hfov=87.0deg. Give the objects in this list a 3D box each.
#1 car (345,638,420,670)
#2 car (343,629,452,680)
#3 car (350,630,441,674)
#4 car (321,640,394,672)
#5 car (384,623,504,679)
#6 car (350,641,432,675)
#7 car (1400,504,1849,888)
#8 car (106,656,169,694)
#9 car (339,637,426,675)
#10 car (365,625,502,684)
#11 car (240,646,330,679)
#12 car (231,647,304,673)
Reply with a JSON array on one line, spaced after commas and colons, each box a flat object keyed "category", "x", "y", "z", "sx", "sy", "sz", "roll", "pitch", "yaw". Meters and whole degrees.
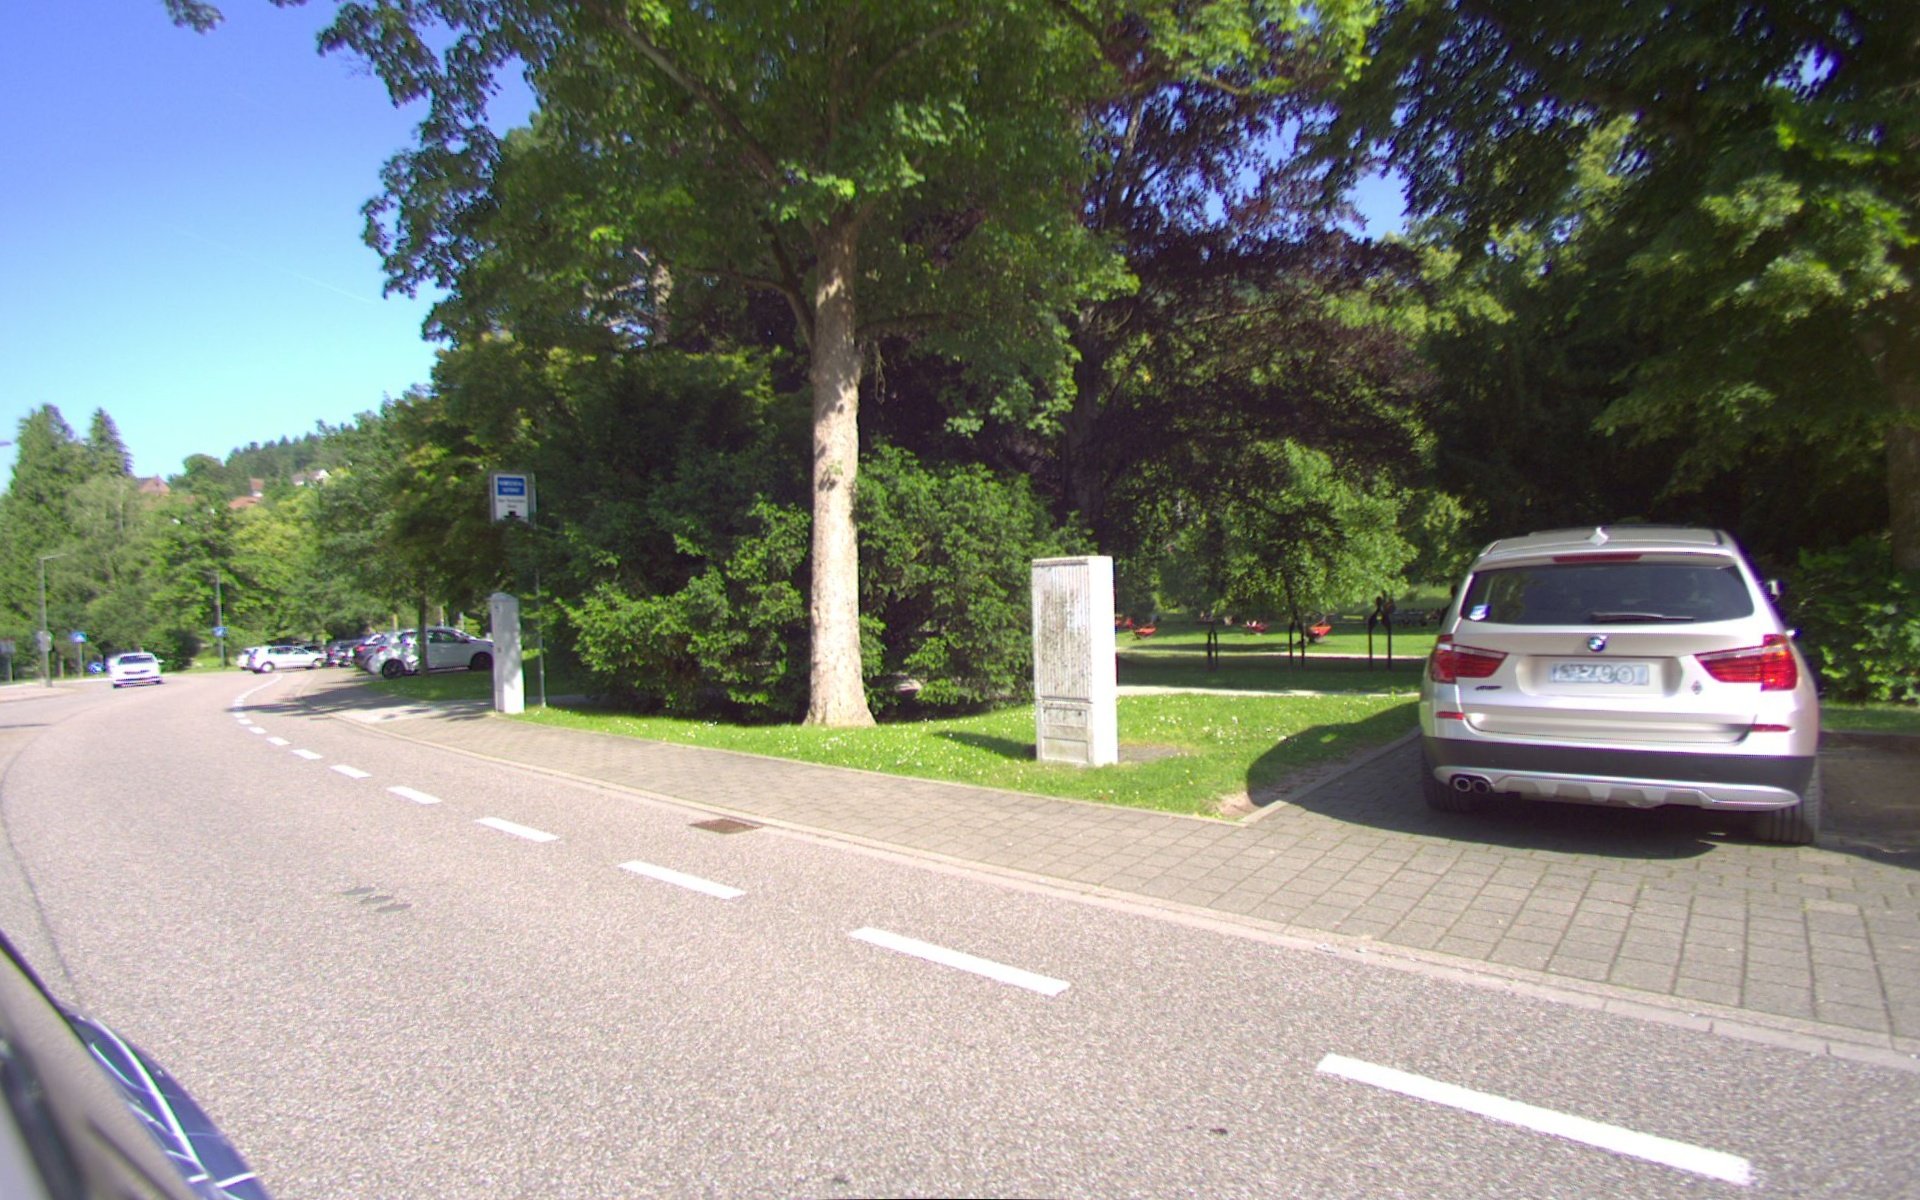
[{"category": "car", "x": -31.570, "y": 2.926, "z": 55.339, "sx": 3.435, "sy": 1.436, "sz": 1.558, "roll": -4, "pitch": 0, "yaw": -32}, {"category": "car", "x": -21.011, "y": 2.020, "z": 37.827, "sx": 3.435, "sy": 1.557, "sz": 1.447, "roll": -4, "pitch": -1, "yaw": -32}, {"category": "car", "x": -25.322, "y": 2.328, "z": 45.405, "sx": 3.435, "sy": 1.632, "sz": 1.384, "roll": -4, "pitch": 0, "yaw": -32}, {"category": "car", "x": -33.897, "y": 3.126, "z": 56.978, "sx": 3.435, "sy": 1.436, "sz": 1.558, "roll": -4, "pitch": 0, "yaw": -32}, {"category": "car", "x": -17.347, "y": 1.698, "z": 34.061, "sx": 3.435, "sy": 1.564, "sz": 1.384, "roll": -4, "pitch": 0, "yaw": -32}, {"category": "car", "x": -28.272, "y": 2.857, "z": 50.312, "sx": 3.435, "sy": 1.311, "sz": 1.558, "roll": -4, "pitch": 0, "yaw": -32}, {"category": "car", "x": 4.327, "y": 0.286, "z": 6.760, "sx": 1.805, "sy": 1.675, "sz": 4.448, "roll": -1, "pitch": 3, "yaw": 33}, {"category": "car", "x": -36.362, "y": 3.279, "z": 44.822, "sx": 1.712, "sy": 1.508, "sz": 3.940, "roll": -1, "pitch": -2, "yaw": -33}, {"category": "car", "x": -27.233, "y": 2.630, "z": 47.777, "sx": 3.435, "sy": 1.436, "sz": 1.558, "roll": -4, "pitch": 0, "yaw": -32}, {"category": "car", "x": -16.394, "y": 1.669, "z": 31.558, "sx": 3.627, "sy": 1.498, "sz": 1.570, "roll": -4, "pitch": 0, "yaw": -32}, {"category": "car", "x": -38.357, "y": 3.534, "z": 57.585, "sx": 1.515, "sy": 1.408, "sz": 3.947, "roll": -5, "pitch": 0, "yaw": 41}, {"category": "car", "x": -48.945, "y": 4.251, "z": 71.567, "sx": 1.512, "sy": 1.488, "sz": 3.955, "roll": -5, "pitch": -1, "yaw": 33}]
